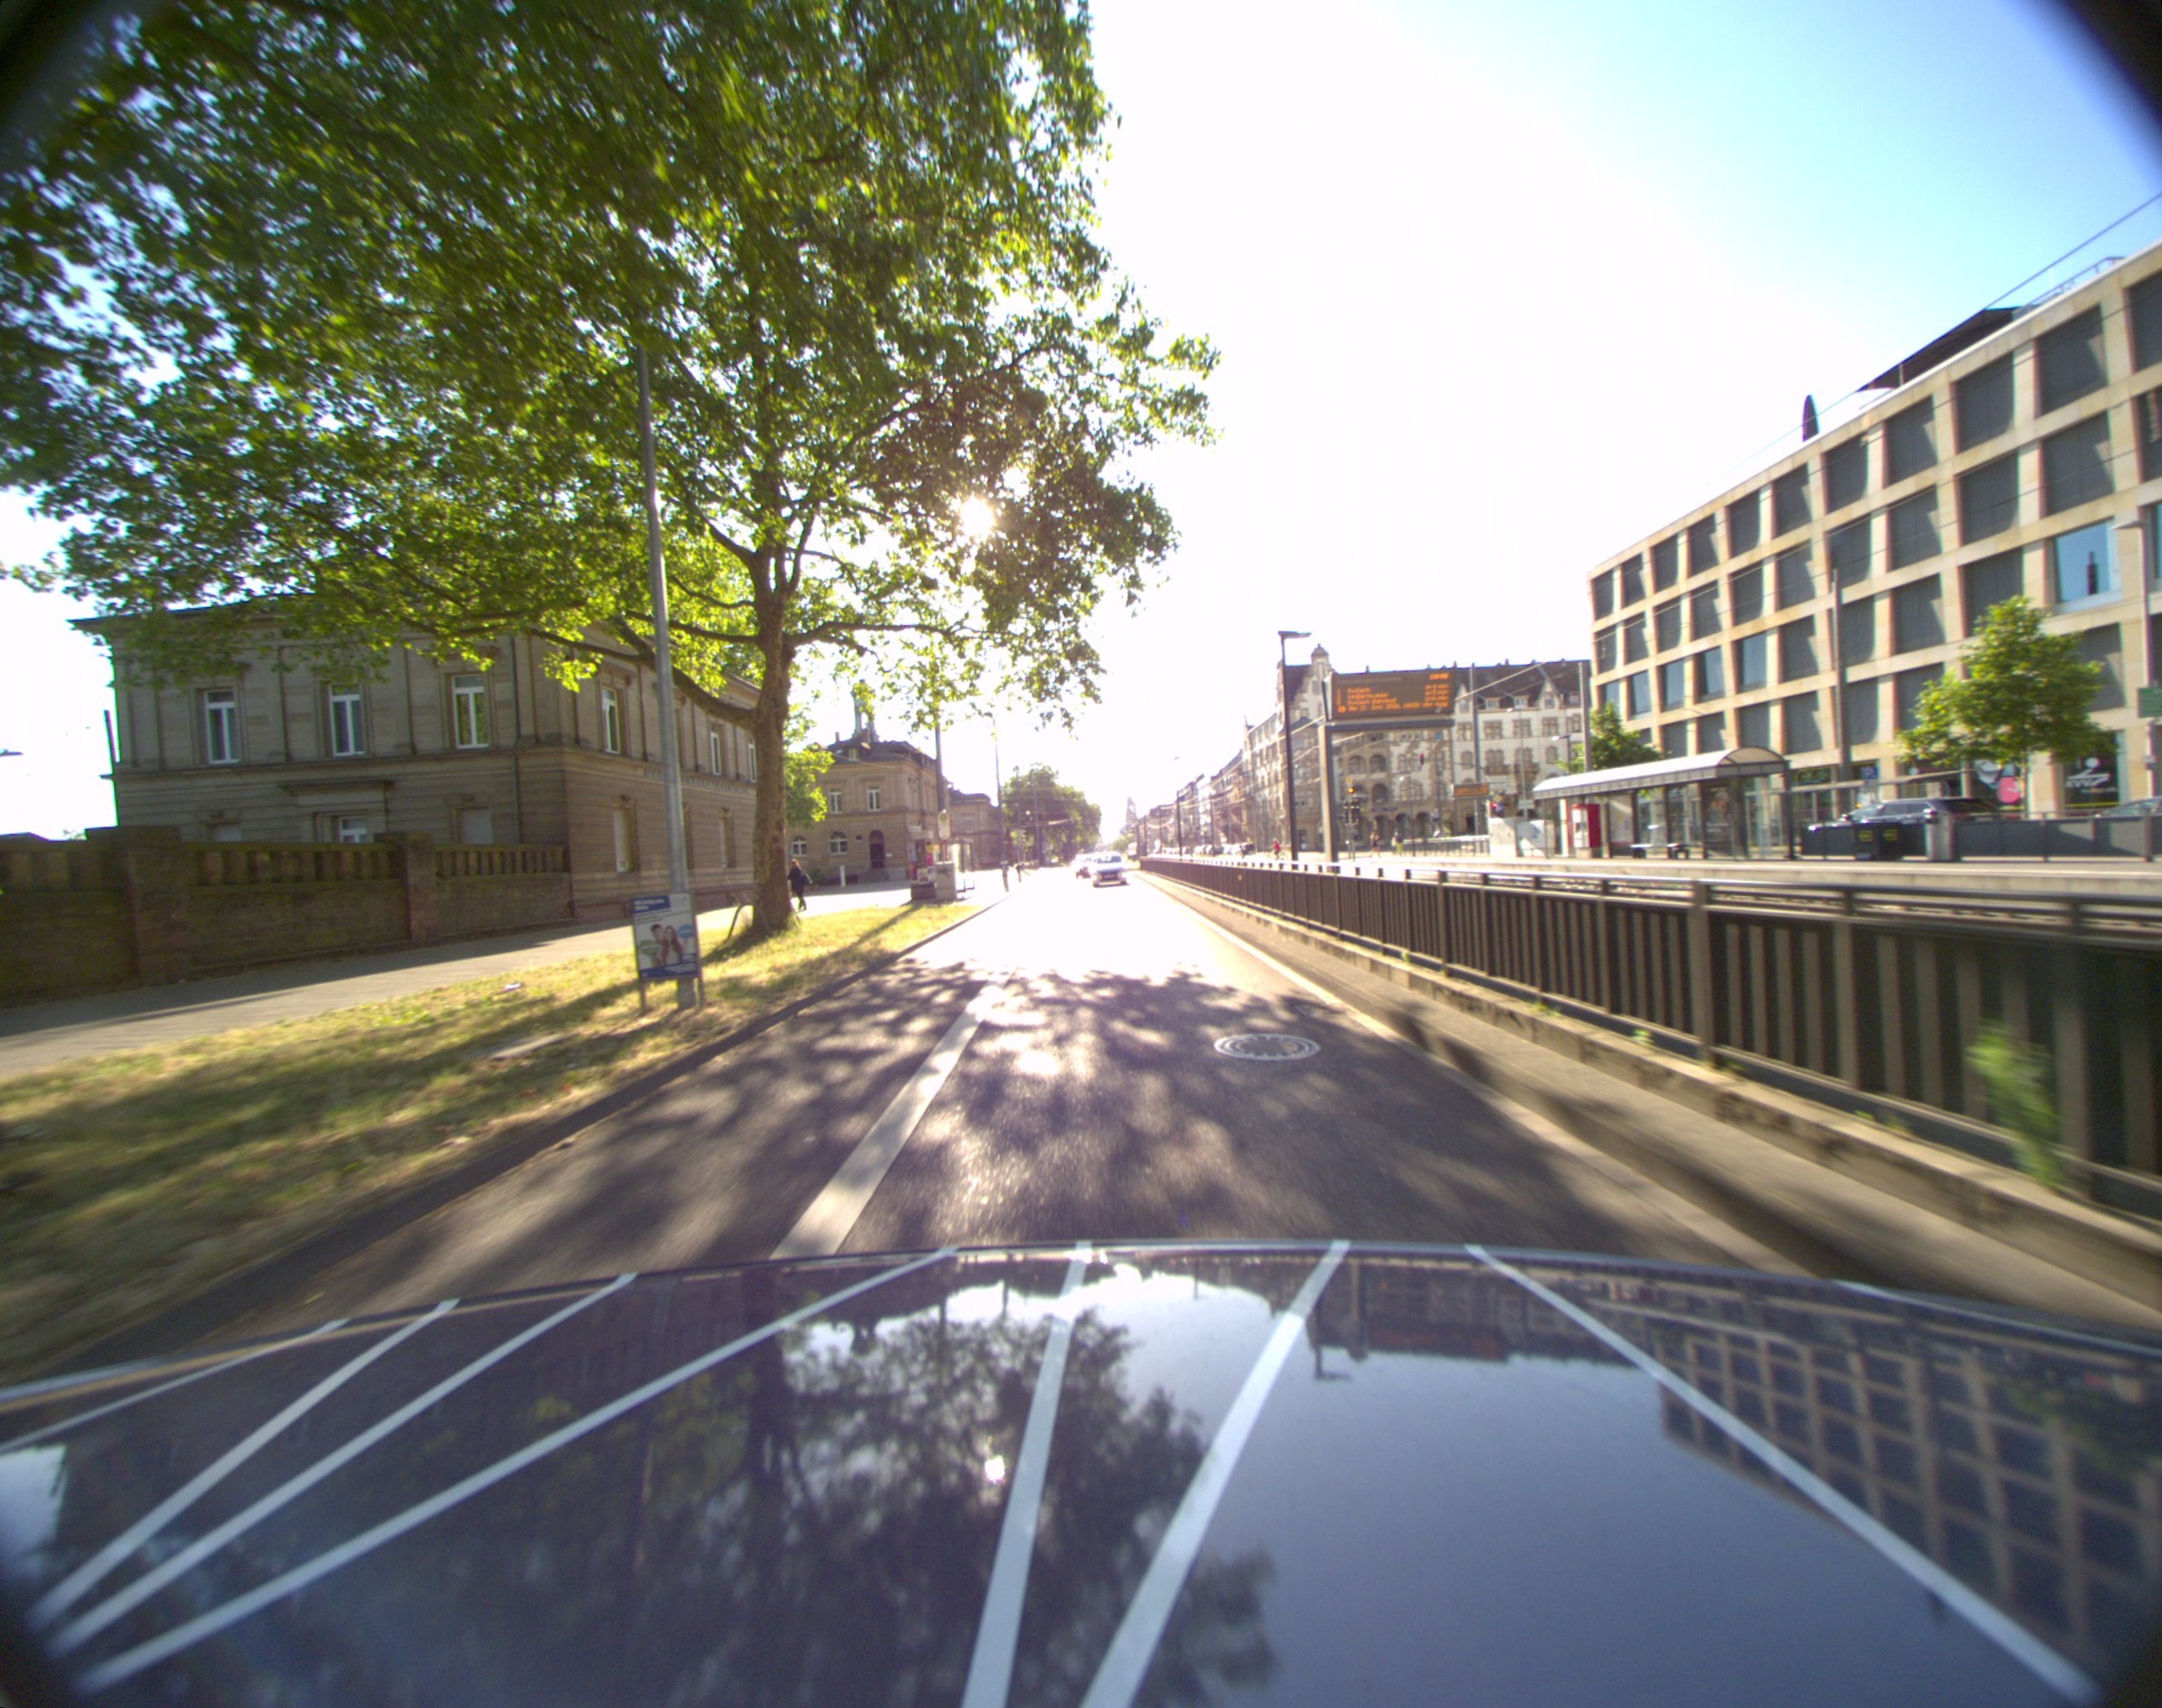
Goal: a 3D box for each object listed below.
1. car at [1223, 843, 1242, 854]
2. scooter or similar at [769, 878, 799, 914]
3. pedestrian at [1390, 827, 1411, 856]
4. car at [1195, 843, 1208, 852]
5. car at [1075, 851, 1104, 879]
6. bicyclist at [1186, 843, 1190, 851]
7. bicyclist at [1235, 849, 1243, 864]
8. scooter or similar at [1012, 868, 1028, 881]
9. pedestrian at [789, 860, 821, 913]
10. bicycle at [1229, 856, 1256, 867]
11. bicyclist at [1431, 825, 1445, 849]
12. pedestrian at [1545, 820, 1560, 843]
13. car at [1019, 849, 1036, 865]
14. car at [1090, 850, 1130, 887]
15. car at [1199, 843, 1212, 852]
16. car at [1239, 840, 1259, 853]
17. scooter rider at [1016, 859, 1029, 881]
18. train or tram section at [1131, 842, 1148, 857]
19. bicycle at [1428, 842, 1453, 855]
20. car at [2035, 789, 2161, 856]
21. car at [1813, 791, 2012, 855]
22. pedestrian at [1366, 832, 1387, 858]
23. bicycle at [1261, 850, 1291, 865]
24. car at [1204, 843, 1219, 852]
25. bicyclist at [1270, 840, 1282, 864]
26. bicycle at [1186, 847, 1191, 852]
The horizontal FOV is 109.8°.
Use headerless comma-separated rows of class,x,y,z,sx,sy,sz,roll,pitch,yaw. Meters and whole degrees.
car,23.580,-0.905,118.321,1.741,1.516,3.998,-5,0,-4
scooter or similar,-10.009,1.417,25.622,0.720,1.149,0.759,-2,1,-5
pedestrian,18.642,-0.702,44.317,0.795,1.635,0.933,-4,1,2
car,23.328,-1.263,146.873,1.741,1.516,4.000,-5,0,1
car,0.556,0.673,48.473,1.649,1.555,3.666,-5,1,1
bicyclist,21.067,-1.382,149.360,0.683,1.609,0.630,-3,1,-3
bicyclist,10.705,0.156,51.499,0.462,0.987,0.511,-3,1,10
scooter or similar,-4.015,1.337,50.094,1.023,0.807,0.265,-4,1,1
pedestrian,-9.426,1.095,25.951,0.771,1.734,0.796,-2,1,-5
bicycle,10.943,0.535,51.491,1.724,0.605,0.512,-4,1,10
bicyclist,28.049,-1.325,59.692,0.668,1.797,0.646,-4,1,-17
pedestrian,35.001,-1.667,56.367,0.616,1.672,0.639,-3,1,-3
car,-7.706,0.438,109.750,1.833,2.034,4.000,-4,1,4
car,1.314,0.636,35.755,1.649,1.555,3.666,-5,1,1
car,23.142,-1.179,141.580,1.741,1.516,4.000,-5,0,1
car,23.691,-1.069,107.253,1.780,1.660,3.999,-4,0,-1
scooter rider,-3.864,1.039,50.175,0.703,1.389,0.600,-4,1,1
train or tram section,14.867,-1.161,194.021,2.781,3.378,19.474,-4,0,1
bicycle,28.272,-0.416,59.791,1.890,0.906,0.513,-3,1,-18
car,25.801,-0.776,18.055,1.649,1.553,3.650,-4,0,2
car,26.038,-0.906,24.040,1.922,1.759,4.000,-4,0,2
pedestrian,19.371,-0.559,49.764,0.933,1.635,0.795,-4,1,-12
bicycle,13.239,0.252,51.600,1.888,0.873,0.608,-3,1,9
car,23.242,-1.105,135.423,1.741,1.516,4.000,-5,0,1
bicyclist,13.206,-0.137,51.557,0.629,1.609,0.684,-3,1,9
bicycle,21.129,-0.900,149.310,0.607,0.996,2.068,-3,0,-2
